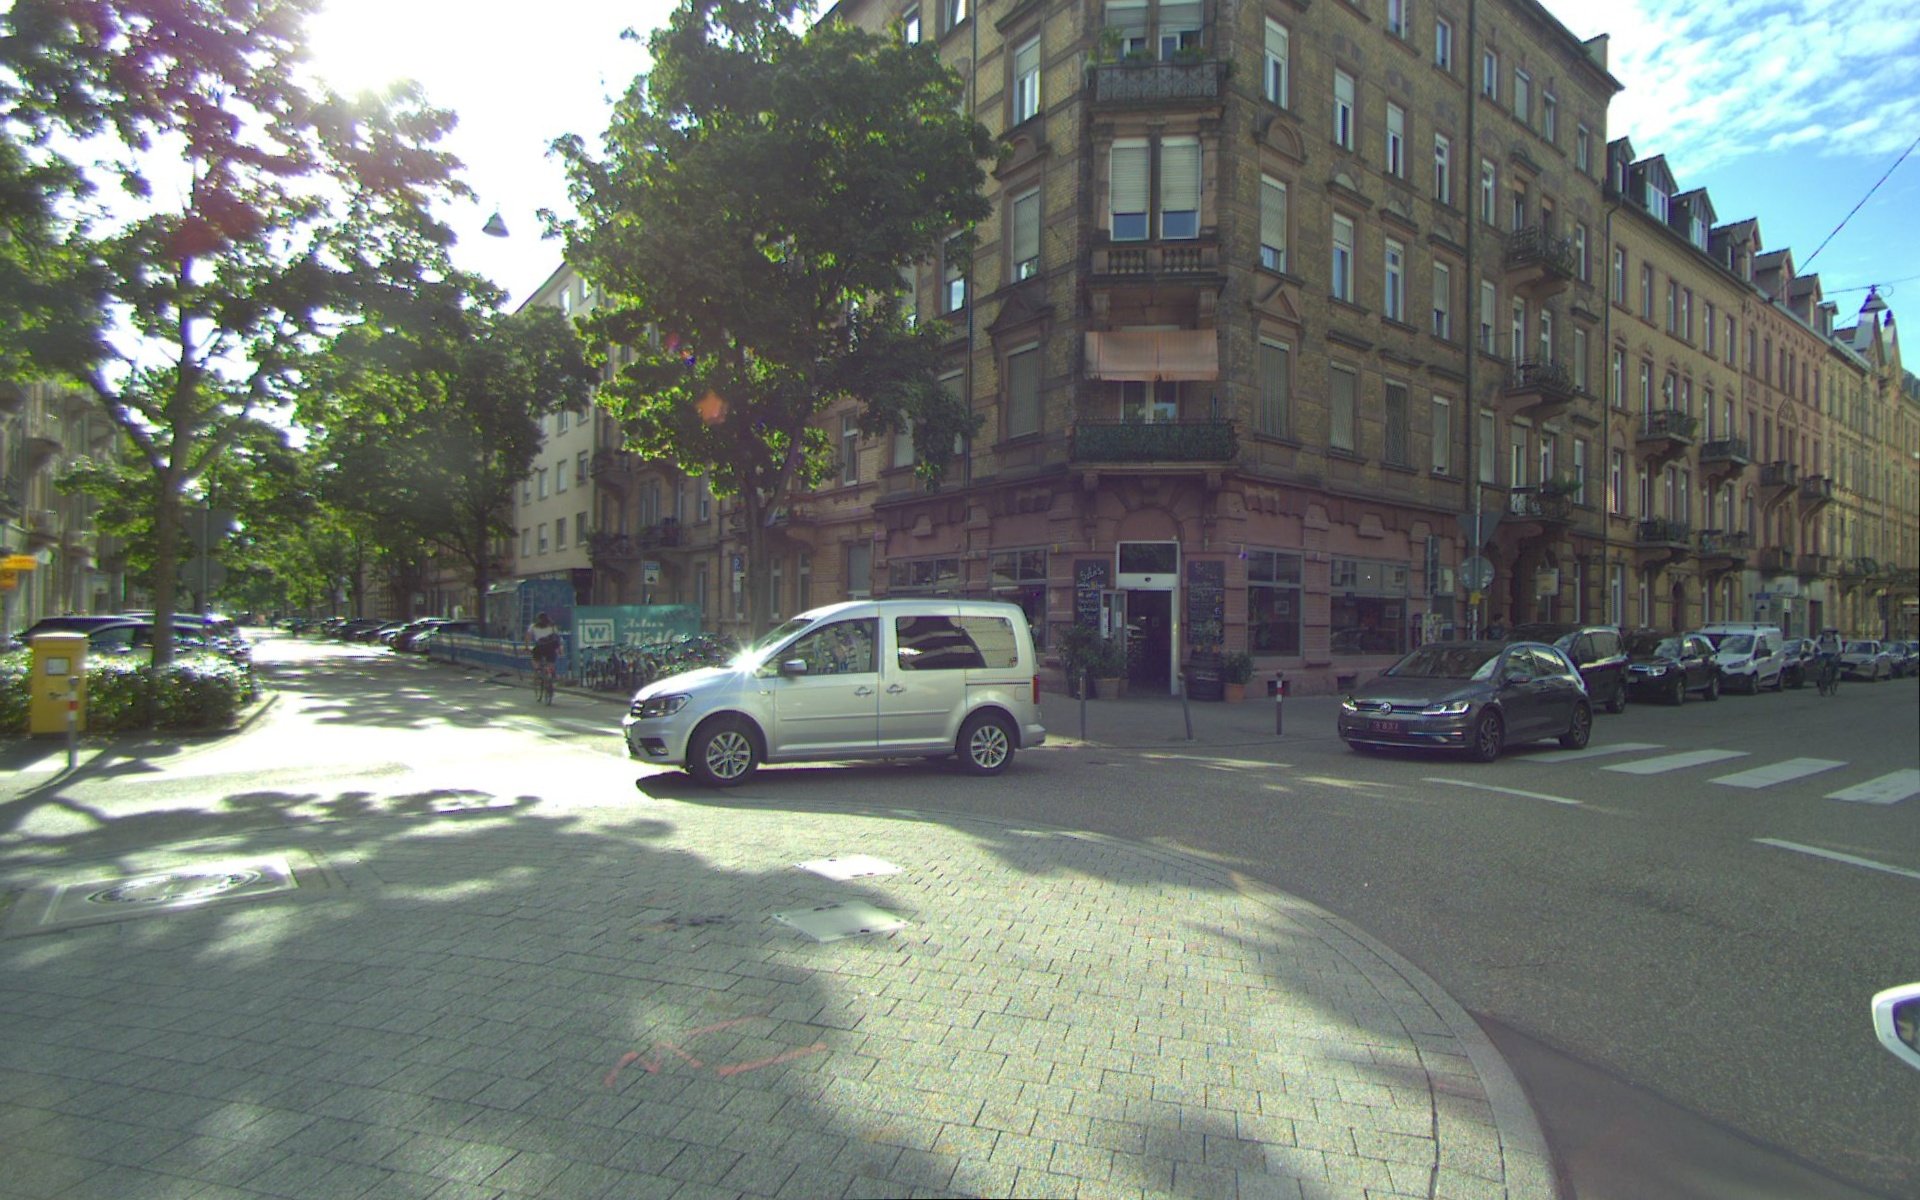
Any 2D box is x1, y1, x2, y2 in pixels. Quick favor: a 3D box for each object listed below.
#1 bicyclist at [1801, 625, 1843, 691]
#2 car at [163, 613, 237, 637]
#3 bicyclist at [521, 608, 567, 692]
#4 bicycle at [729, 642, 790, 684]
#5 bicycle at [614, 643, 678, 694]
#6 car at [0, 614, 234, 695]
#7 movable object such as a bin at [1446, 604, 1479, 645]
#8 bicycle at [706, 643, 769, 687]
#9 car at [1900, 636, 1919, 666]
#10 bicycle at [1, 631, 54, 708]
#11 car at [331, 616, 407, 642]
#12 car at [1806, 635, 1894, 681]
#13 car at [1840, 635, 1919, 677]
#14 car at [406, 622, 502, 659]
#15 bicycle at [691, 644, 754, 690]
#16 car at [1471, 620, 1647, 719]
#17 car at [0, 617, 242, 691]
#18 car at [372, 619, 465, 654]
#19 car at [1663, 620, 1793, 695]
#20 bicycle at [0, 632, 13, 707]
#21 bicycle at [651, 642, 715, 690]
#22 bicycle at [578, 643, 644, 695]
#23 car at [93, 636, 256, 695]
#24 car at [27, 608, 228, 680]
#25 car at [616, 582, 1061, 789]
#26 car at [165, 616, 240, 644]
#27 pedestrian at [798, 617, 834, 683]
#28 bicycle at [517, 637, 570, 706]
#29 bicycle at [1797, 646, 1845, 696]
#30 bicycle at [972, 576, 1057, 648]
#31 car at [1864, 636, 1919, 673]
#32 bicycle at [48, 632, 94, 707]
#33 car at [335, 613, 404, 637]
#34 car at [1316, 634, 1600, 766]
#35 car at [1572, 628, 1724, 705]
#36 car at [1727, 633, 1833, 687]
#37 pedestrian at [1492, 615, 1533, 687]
[{"bbox_3d":[23.101,1.531,26.914,1.104,1.700,0.694,1,0,-42],"label":"bicyclist"},{"bbox_3d":[-48.917,1.590,64.666,3.686,1.492,1.784,1,0,-40],"label":"car"},{"bbox_3d":[-8.314,0.975,20.060,0.685,1.608,1.118,1,0,-31],"label":"bicyclist"},{"bbox_3d":[-5.218,1.622,26.061,0.587,0.981,2.051,-1,0,-43],"label":"bicycle"},{"bbox_3d":[-7.164,1.534,22.858,0.587,1.043,2.051,-1,0,-43],"label":"bicycle"},{"bbox_3d":[-17.172,1.073,20.557,3.661,1.496,1.562,1,0,-35],"label":"car"},{"bbox_3d":[9.095,0.445,18.196,0.472,0.724,0.379,1,0,-42],"label":"movable object such as a bin"},{"bbox_3d":[-5.623,1.618,25.314,0.587,0.981,2.051,-1,0,-43],"label":"bicycle"},{"bbox_3d":[46.421,2.451,47.935,3.833,1.405,1.677,2,0,-38],"label":"car"},{"bbox_3d":[-15.231,1.092,16.431,0.475,1.149,2.404,2,-2,-40],"label":"bicycle"},{"bbox_3d":[-37.854,1.843,64.377,3.964,1.591,1.815,1,0,-38],"label":"car"},{"bbox_3d":[32.769,2.102,36.952,3.948,1.503,1.728,2,0,-38],"label":"car"},{"bbox_3d":[36.719,2.200,40.067,3.948,1.503,1.728,2,0,-38],"label":"car"},{"bbox_3d":[-23.670,1.885,47.116,3.948,1.623,1.866,1,0,-27],"label":"car"},{"bbox_3d":[-5.826,1.612,24.567,0.587,1.025,2.051,-1,0,-43],"label":"bicycle"},{"bbox_3d":[12.515,1.373,20.887,4.368,1.797,1.745,2,0,-39],"label":"car"},{"bbox_3d":[-18.608,1.163,22.520,4.036,1.496,1.560,1,0,-37],"label":"car"},{"bbox_3d":[-26.837,1.821,49.903,3.948,1.623,1.866,1,0,-27],"label":"car"},{"bbox_3d":[21.522,1.548,28.099,4.399,1.896,1.904,1,0,-39],"label":"car"},{"bbox_3d":[-15.661,1.104,16.056,0.575,1.149,2.404,2,-2,-40],"label":"bicycle"},{"bbox_3d":[-6.594,1.549,23.807,0.587,1.025,2.051,-1,0,-43],"label":"bicycle"},{"bbox_3d":[-7.862,1.518,22.572,0.587,1.043,2.115,-1,0,-43],"label":"bicycle"},{"bbox_3d":[-20.611,1.680,26.499,3.308,1.462,1.362,1,-3,-37],"label":"car"},{"bbox_3d":[-20.174,1.039,24.552,3.665,1.618,1.560,1,0,-37],"label":"car"},{"bbox_3d":[-1.265,0.857,10.473,4.269,1.814,1.826,2,-3,-23],"label":"car"},{"bbox_3d":[-42.424,1.685,56.344,3.308,1.495,1.392,1,-3,-37],"label":"car"},{"bbox_3d":[-3.654,1.262,25.542,0.608,1.599,0.803,-2,2,-32],"label":"pedestrian"},{"bbox_3d":[-8.365,1.402,20.131,0.685,1.215,1.961,1,0,-31],"label":"bicycle"},{"bbox_3d":[22.999,1.879,26.821,2.101,1.236,0.694,1,-1,-42],"label":"bicycle"},{"bbox_3d":[1.191,0.270,22.491,0.552,1.541,2.138,1,-1,-42],"label":"bicycle"},{"bbox_3d":[39.976,2.298,42.669,3.833,1.405,1.677,2,0,-38],"label":"car"},{"bbox_3d":[-14.827,1.120,16.779,0.475,1.149,2.404,1,-1,-40],"label":"bicycle"},{"bbox_3d":[-41.461,1.774,70.576,3.964,1.591,1.815,1,0,-38],"label":"car"},{"bbox_3d":[6.541,1.217,13.066,3.964,1.456,1.778,3,-4,-38],"label":"car"},{"bbox_3d":[16.725,1.550,24.362,4.110,1.660,1.977,2,-1,-39],"label":"car"},{"bbox_3d":[25.667,1.853,31.399,3.948,1.503,1.728,2,0,-38],"label":"car"},{"bbox_3d":[14.822,1.349,26.953,0.852,1.865,0.670,1,2,-44],"label":"pedestrian"}]
